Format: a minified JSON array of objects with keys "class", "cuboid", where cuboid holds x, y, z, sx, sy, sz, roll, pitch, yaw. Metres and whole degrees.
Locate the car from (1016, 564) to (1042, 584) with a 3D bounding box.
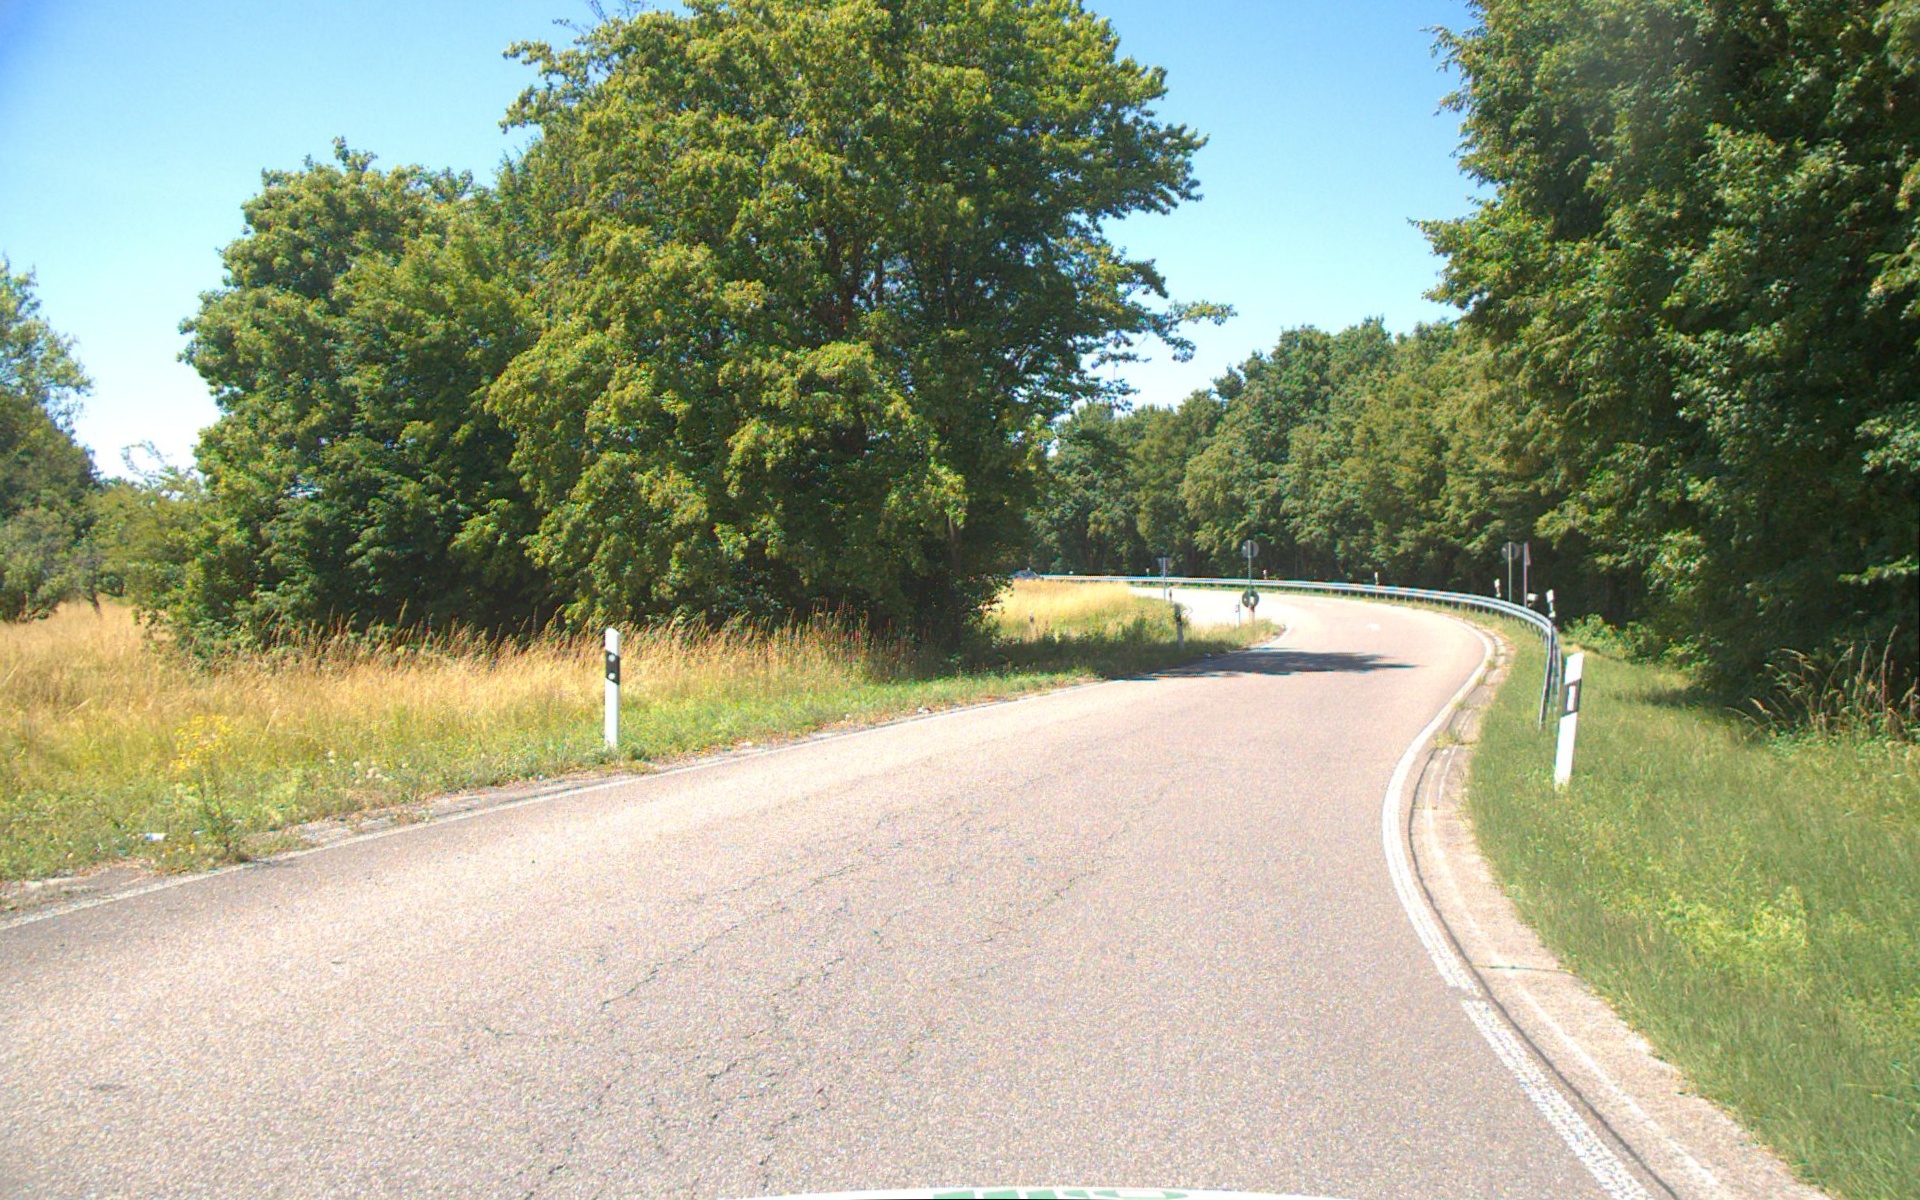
[{"class":"car","cuboid":[5.684,-2.107,136.372,1.766,1.533,4.656,-3,0,-2]}]
